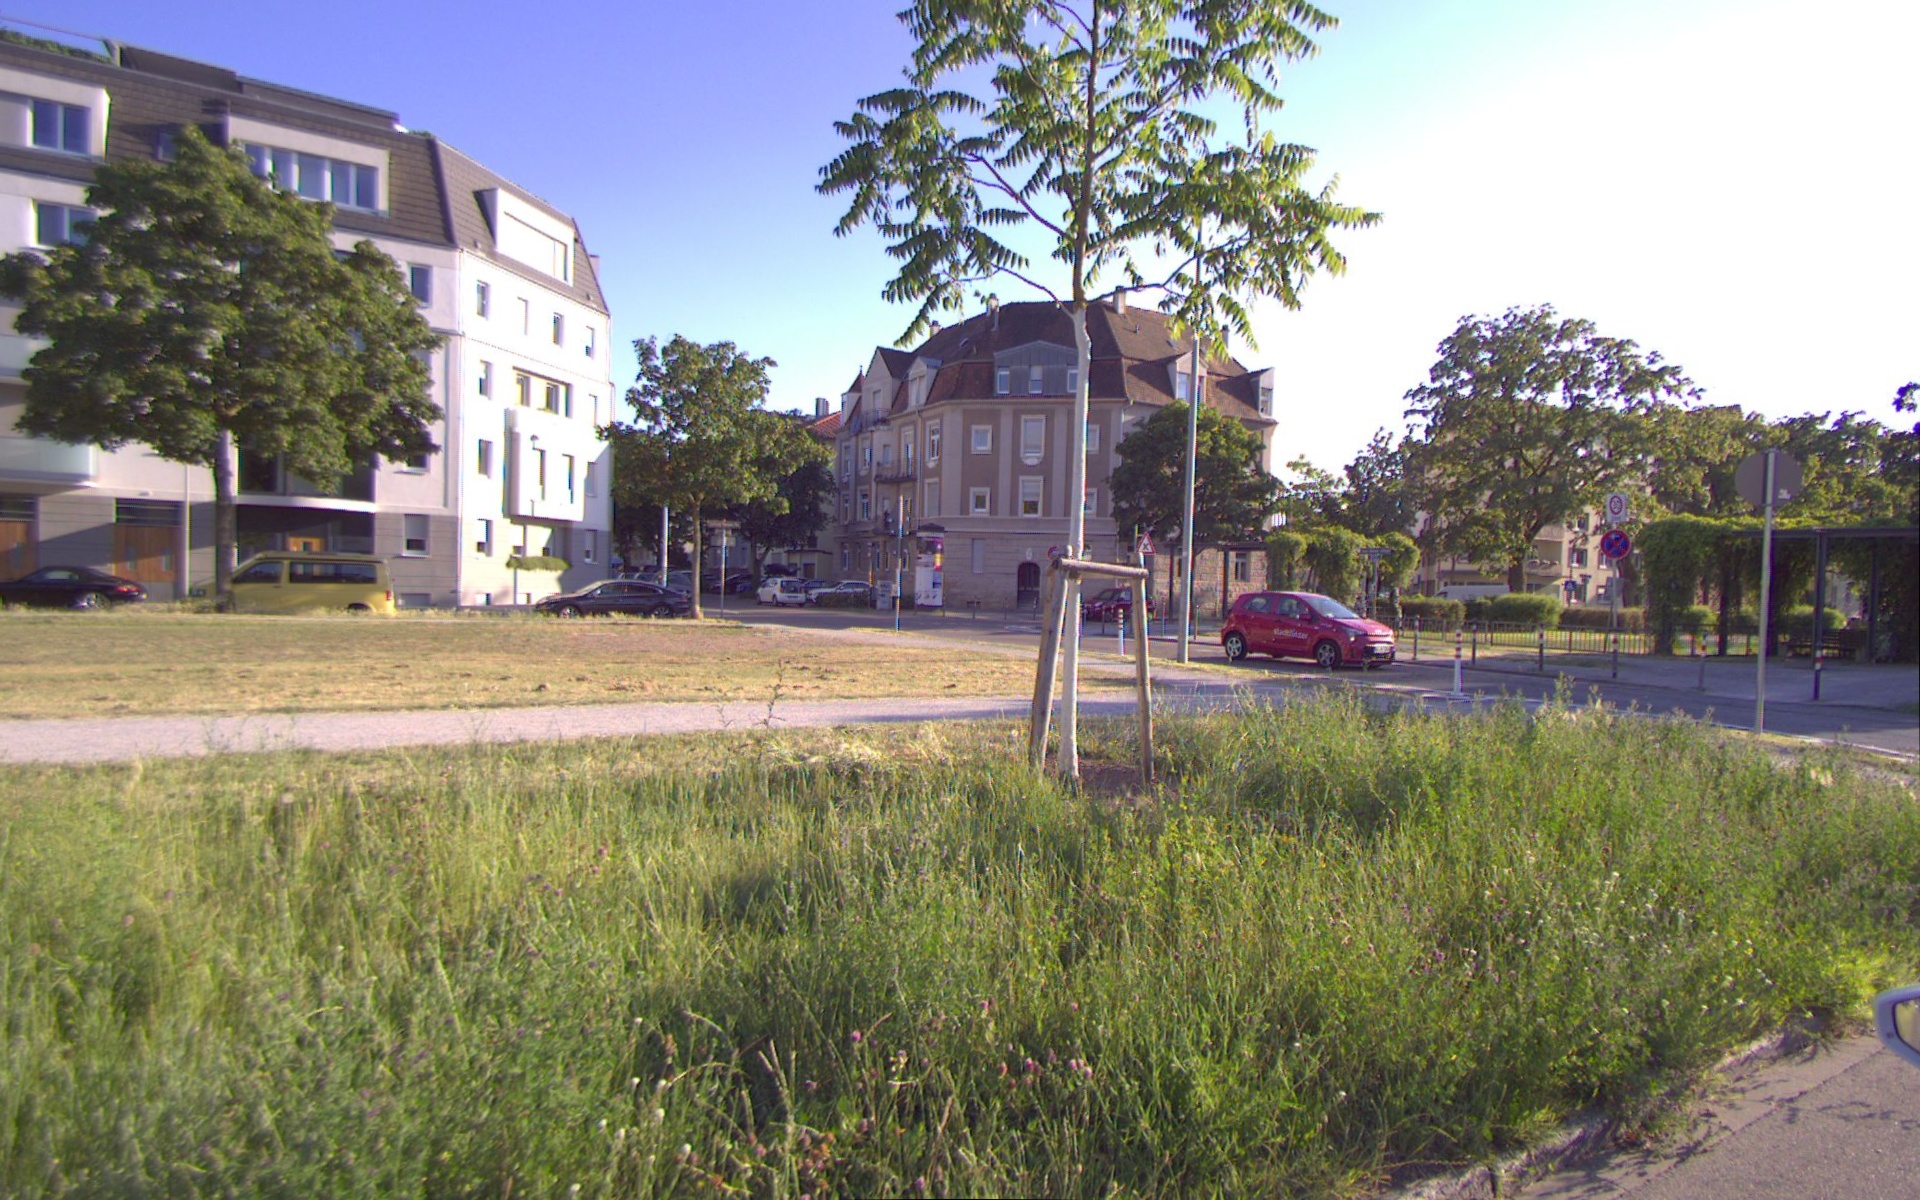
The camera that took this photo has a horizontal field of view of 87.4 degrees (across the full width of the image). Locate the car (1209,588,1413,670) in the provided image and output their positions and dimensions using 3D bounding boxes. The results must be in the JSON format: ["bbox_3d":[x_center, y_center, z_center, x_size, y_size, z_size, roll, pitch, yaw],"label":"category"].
[{"bbox_3d":[7.237,0.553,21.028,1.752,1.546,3.739,1,0,-33],"label":"car"}]

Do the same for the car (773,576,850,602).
[{"bbox_3d":[-9.298,-0.690,62.976,4.448,1.546,1.933,-1,3,-37],"label":"car"}]

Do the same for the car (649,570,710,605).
[{"bbox_3d":[-14.221,-0.645,50.760,1.870,1.612,4.053,1,1,-33],"label":"car"}]

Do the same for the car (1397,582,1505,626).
[{"bbox_3d":[34.271,0.270,70.181,6.571,2.781,2.313,2,1,31],"label":"car"}]

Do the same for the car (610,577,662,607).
[{"bbox_3d":[-18.893,-0.475,58.475,1.870,1.612,4.053,1,1,-33],"label":"car"}]

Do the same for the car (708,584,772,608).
[{"bbox_3d":[-15.842,-0.277,72.489,4.157,1.579,1.858,1,1,-32],"label":"car"}]

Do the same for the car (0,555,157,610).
[{"bbox_3d":[-26.533,-0.515,29.837,3.953,1.483,1.664,1,1,-30],"label":"car"}]

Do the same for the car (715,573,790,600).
[{"bbox_3d":[-13.728,-0.873,66.391,4.491,1.663,1.858,1,1,-32],"label":"car"}]

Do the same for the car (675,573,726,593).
[{"bbox_3d":[-21.354,-1.389,82.768,3.701,1.579,1.710,1,1,-32],"label":"car"}]

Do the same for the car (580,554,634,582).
[{"bbox_3d":[-40.988,-3.701,116.542,5.501,3.008,2.449,1,2,-33],"label":"car"}]

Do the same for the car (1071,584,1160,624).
[{"bbox_3d":[7.728,0.198,49.919,4.039,1.764,1.797,1,3,-30],"label":"car"}]

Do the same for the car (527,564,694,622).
[{"bbox_3d":[-11.159,-0.205,32.148,4.783,1.691,1.774,2,1,-30],"label":"car"}]

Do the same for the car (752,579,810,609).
[{"bbox_3d":[-9.444,-0.341,52.799,1.800,1.492,4.185,1,0,-28],"label":"car"}]

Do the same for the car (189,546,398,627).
[{"bbox_3d":[-18.269,-0.332,27.826,4.642,2.040,2.015,1,1,-32],"label":"car"}]

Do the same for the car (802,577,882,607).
[{"bbox_3d":[-6.542,-0.438,55.944,4.016,1.526,1.845,1,1,-32],"label":"car"}]
